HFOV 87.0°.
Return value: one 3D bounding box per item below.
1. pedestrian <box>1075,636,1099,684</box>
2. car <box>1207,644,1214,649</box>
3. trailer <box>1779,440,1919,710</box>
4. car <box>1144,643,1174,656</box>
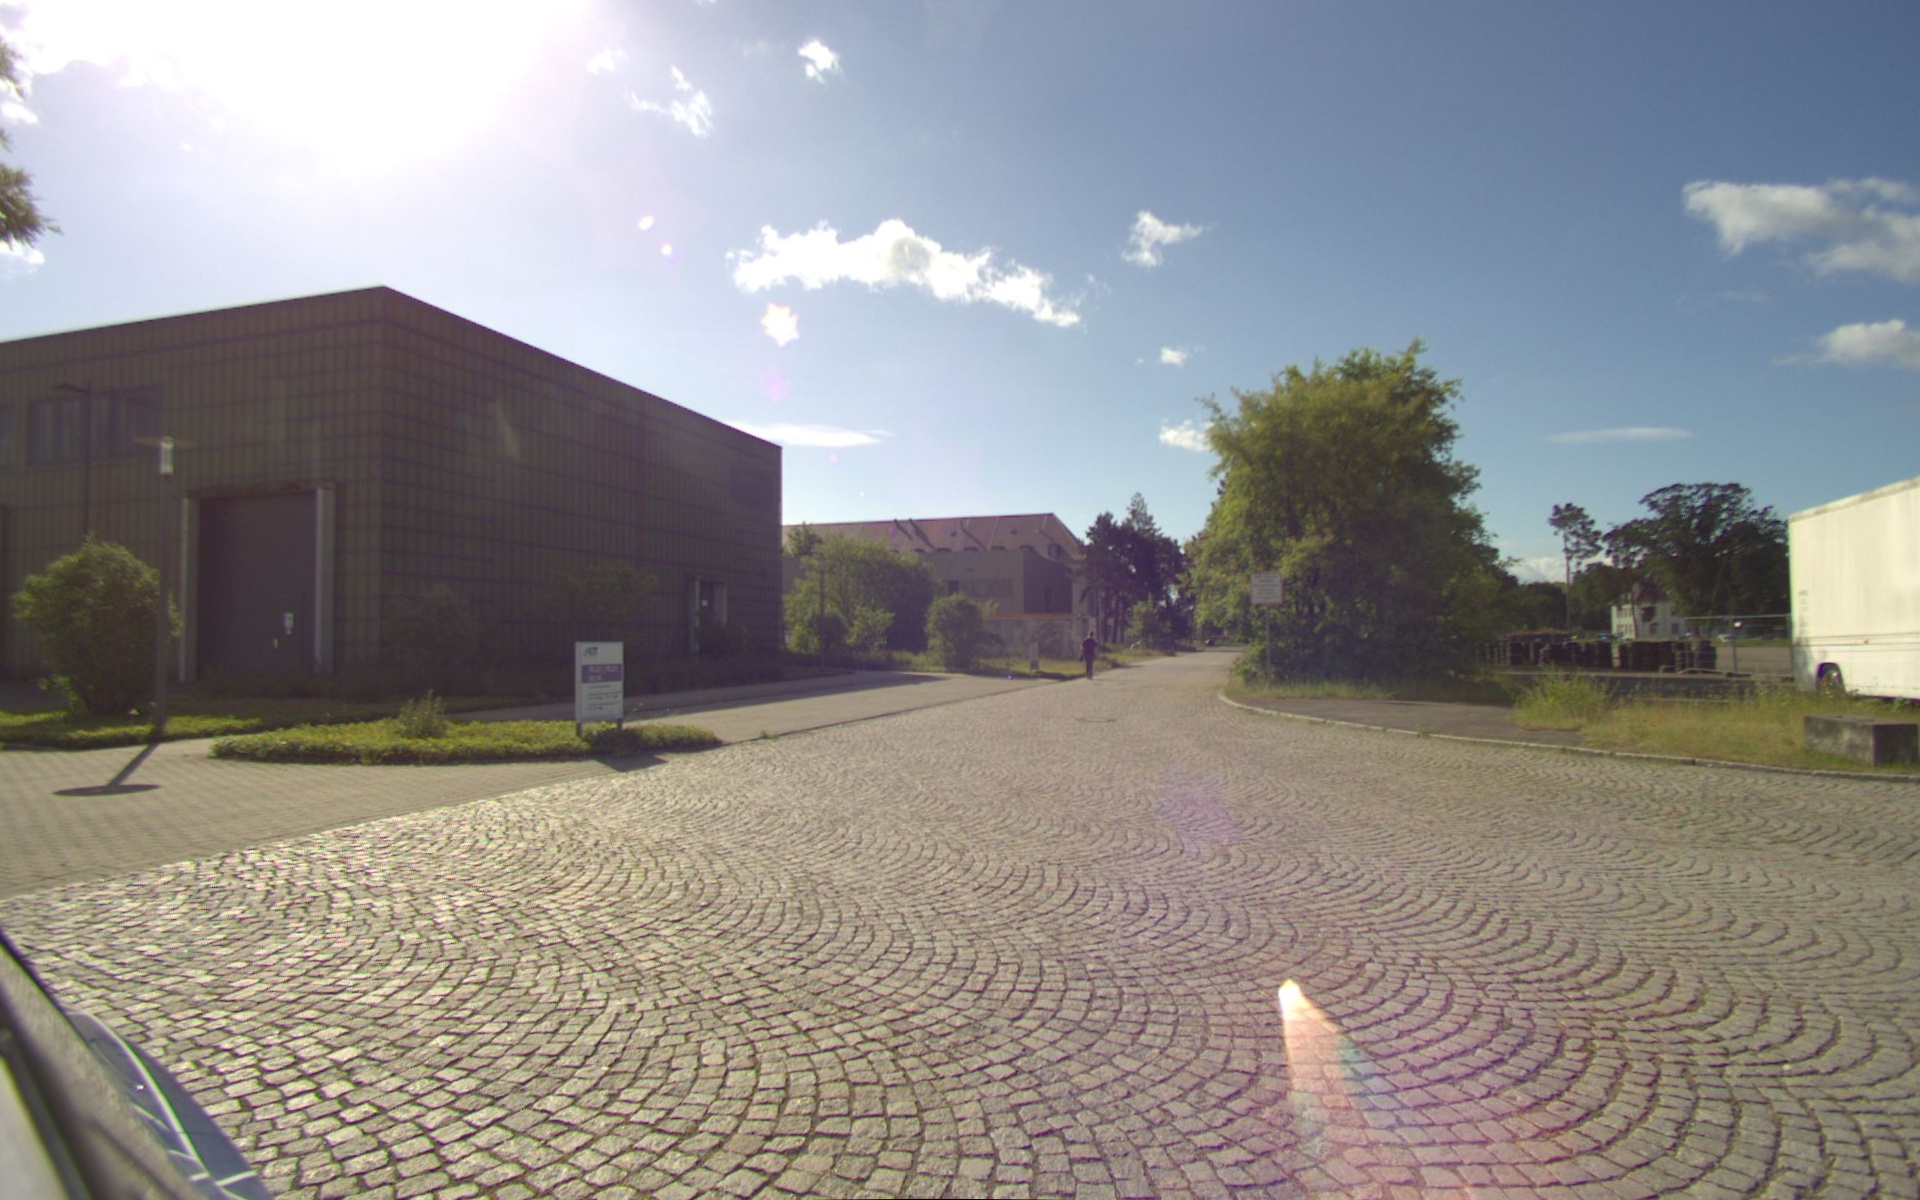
[{"bbox_3d":[4.826,2.257,38.420,0.790,1.794,1.063,0,-3,15],"label":"pedestrian"},{"bbox_3d":[52.630,9.718,212.491,1.361,1.107,2.850,-1,-3,14],"label":"car"},{"bbox_3d":[15.019,-0.429,13.347,2.759,3.941,10.818,-1,-3,18],"label":"trailer"},{"bbox_3d":[20.201,5.053,102.582,2.878,1.269,1.284,-1,-3,9],"label":"car"}]
